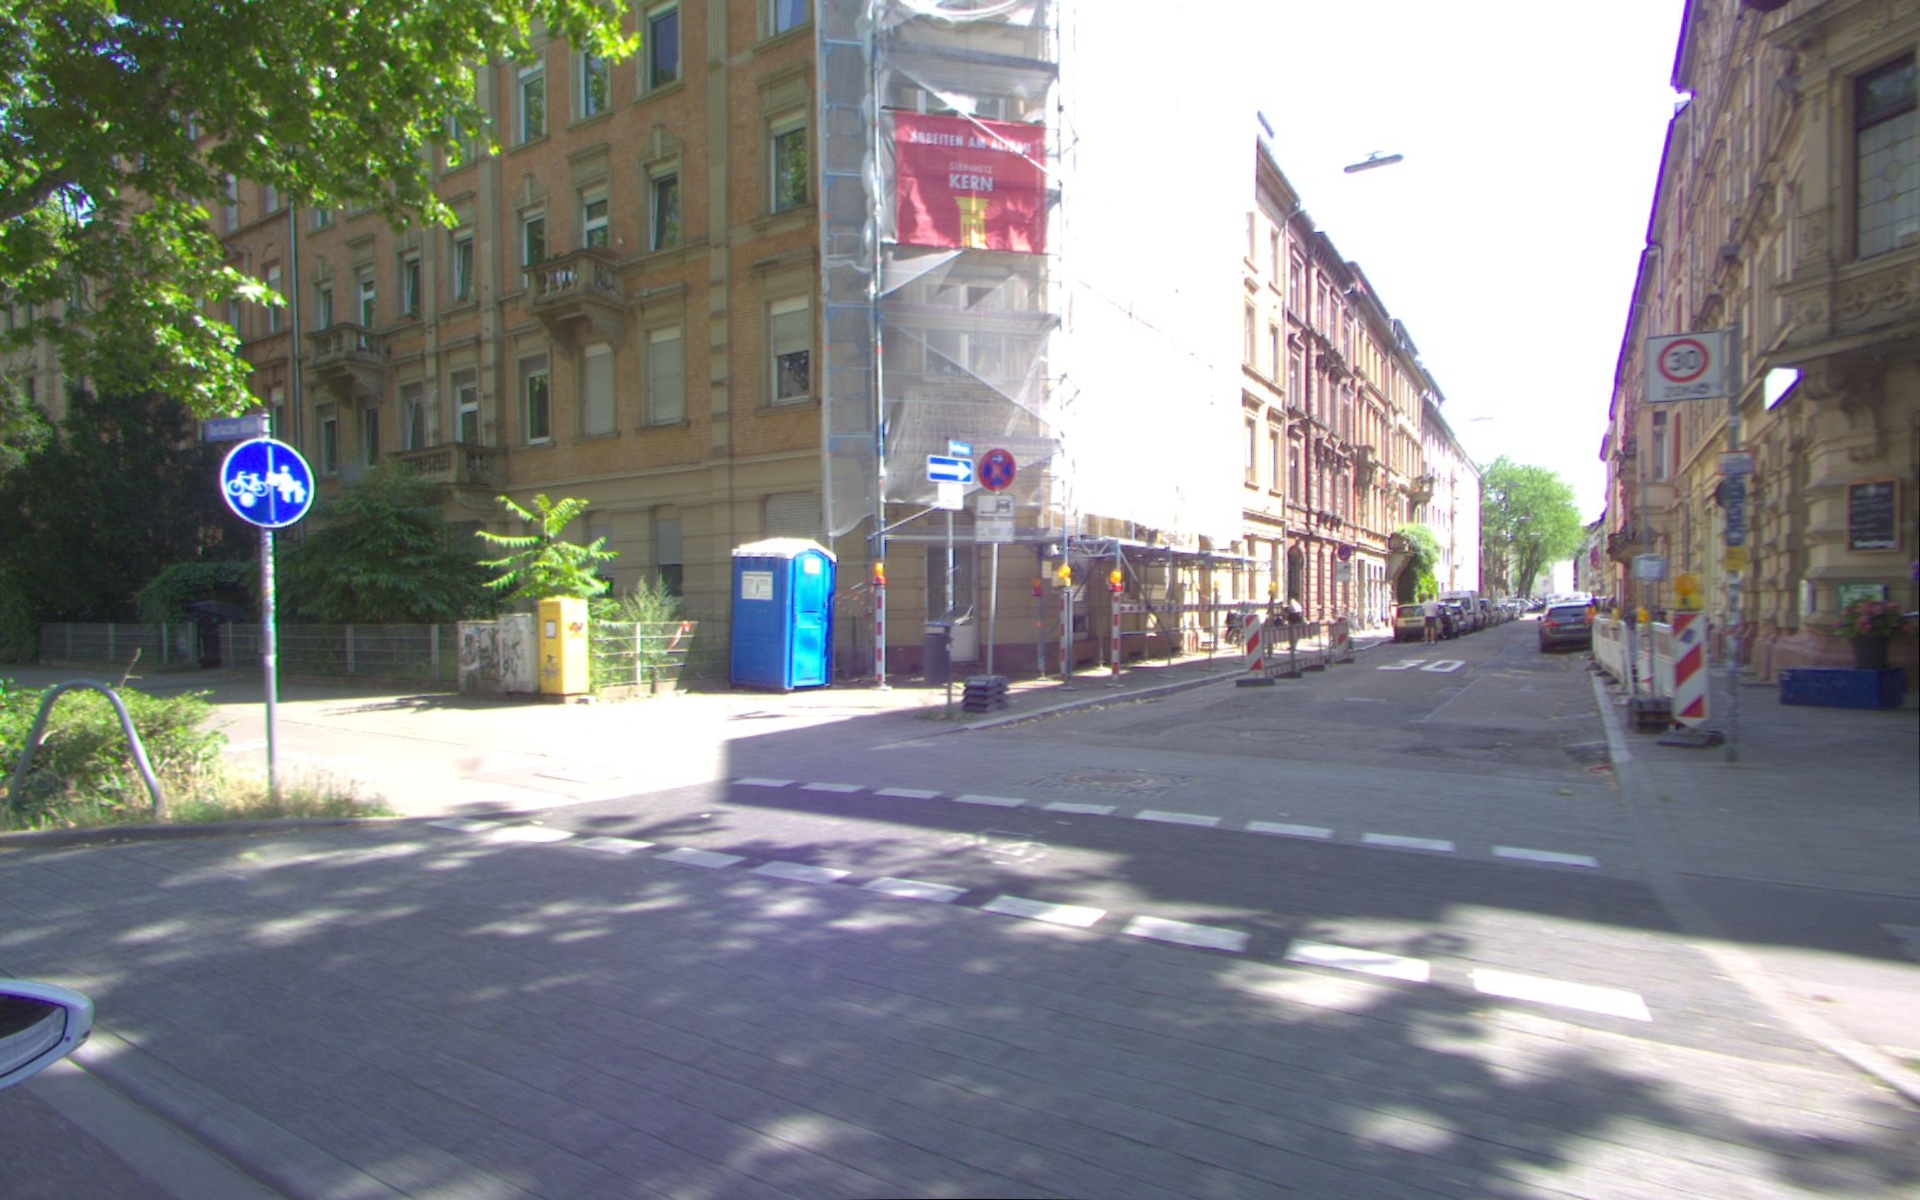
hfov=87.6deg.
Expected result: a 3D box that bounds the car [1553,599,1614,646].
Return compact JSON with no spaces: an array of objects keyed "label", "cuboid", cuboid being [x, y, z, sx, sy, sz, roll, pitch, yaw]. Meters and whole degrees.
[{"label":"car","cuboid":[24.704,0.869,39.765,1.971,1.762,3.979,0,0,31]}]

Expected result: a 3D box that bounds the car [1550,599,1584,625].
[{"label":"car","cuboid":[42.012,0.823,69.360,1.971,1.762,3.979,0,0,31]}]

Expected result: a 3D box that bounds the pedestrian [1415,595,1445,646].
[{"label":"pedestrian","cuboid":[17.120,0.723,36.452,0.922,1.822,1.034,0,0,29]}]

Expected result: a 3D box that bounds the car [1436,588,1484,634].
[{"label":"car","cuboid":[27.249,0.579,54.514,1.886,2.405,4.224,0,0,33]}]

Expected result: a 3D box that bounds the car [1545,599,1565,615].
[{"label":"car","cuboid":[67.695,0.825,113.921,1.971,1.762,3.980,0,0,31]}]

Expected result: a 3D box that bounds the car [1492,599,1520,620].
[{"label":"car","cuboid":[46.646,0.771,85.546,1.886,1.732,4.140,0,0,32]}]

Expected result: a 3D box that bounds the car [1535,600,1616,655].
[{"label":"car","cuboid":[18.708,0.781,30.505,1.971,1.572,3.980,0,0,31]}]

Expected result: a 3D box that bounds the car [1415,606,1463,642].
[{"label":"car","cuboid":[21.585,1.041,45.065,1.702,1.549,3.478,0,0,30]}]

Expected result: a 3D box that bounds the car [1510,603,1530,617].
[{"label":"car","cuboid":[57.265,1.009,102.301,1.646,1.420,3.343,0,0,32]}]

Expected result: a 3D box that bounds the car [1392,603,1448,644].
[{"label":"car","cuboid":[18.580,0.909,40.363,1.702,1.549,3.478,0,0,30]}]

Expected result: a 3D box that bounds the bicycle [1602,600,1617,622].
[{"label":"bicycle","cuboid":[29.981,0.497,46.236,0.531,0.991,1.301,0,0,35]}]

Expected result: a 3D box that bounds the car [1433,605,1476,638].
[{"label":"car","cuboid":[24.760,1.038,50.119,1.702,1.549,3.478,0,0,30]}]

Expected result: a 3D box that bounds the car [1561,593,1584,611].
[{"label":"car","cuboid":[62.473,0.220,102.097,1.971,1.762,3.980,0,0,31]}]

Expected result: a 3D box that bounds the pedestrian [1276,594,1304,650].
[{"label":"pedestrian","cuboid":[10.508,0.708,31.889,0.843,1.748,0.834,0,0,19]}]

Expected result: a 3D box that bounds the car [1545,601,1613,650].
[{"label":"car","cuboid":[22.036,0.858,35.727,1.971,1.661,3.980,0,0,31]}]

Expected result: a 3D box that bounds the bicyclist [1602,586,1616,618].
[{"label":"bicyclist","cuboid":[29.985,0.099,46.239,0.526,1.472,0.458,0,1,36]}]

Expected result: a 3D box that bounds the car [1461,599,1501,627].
[{"label":"car","cuboid":[33.335,0.787,64.025,1.886,1.732,4.139,0,0,33]}]
